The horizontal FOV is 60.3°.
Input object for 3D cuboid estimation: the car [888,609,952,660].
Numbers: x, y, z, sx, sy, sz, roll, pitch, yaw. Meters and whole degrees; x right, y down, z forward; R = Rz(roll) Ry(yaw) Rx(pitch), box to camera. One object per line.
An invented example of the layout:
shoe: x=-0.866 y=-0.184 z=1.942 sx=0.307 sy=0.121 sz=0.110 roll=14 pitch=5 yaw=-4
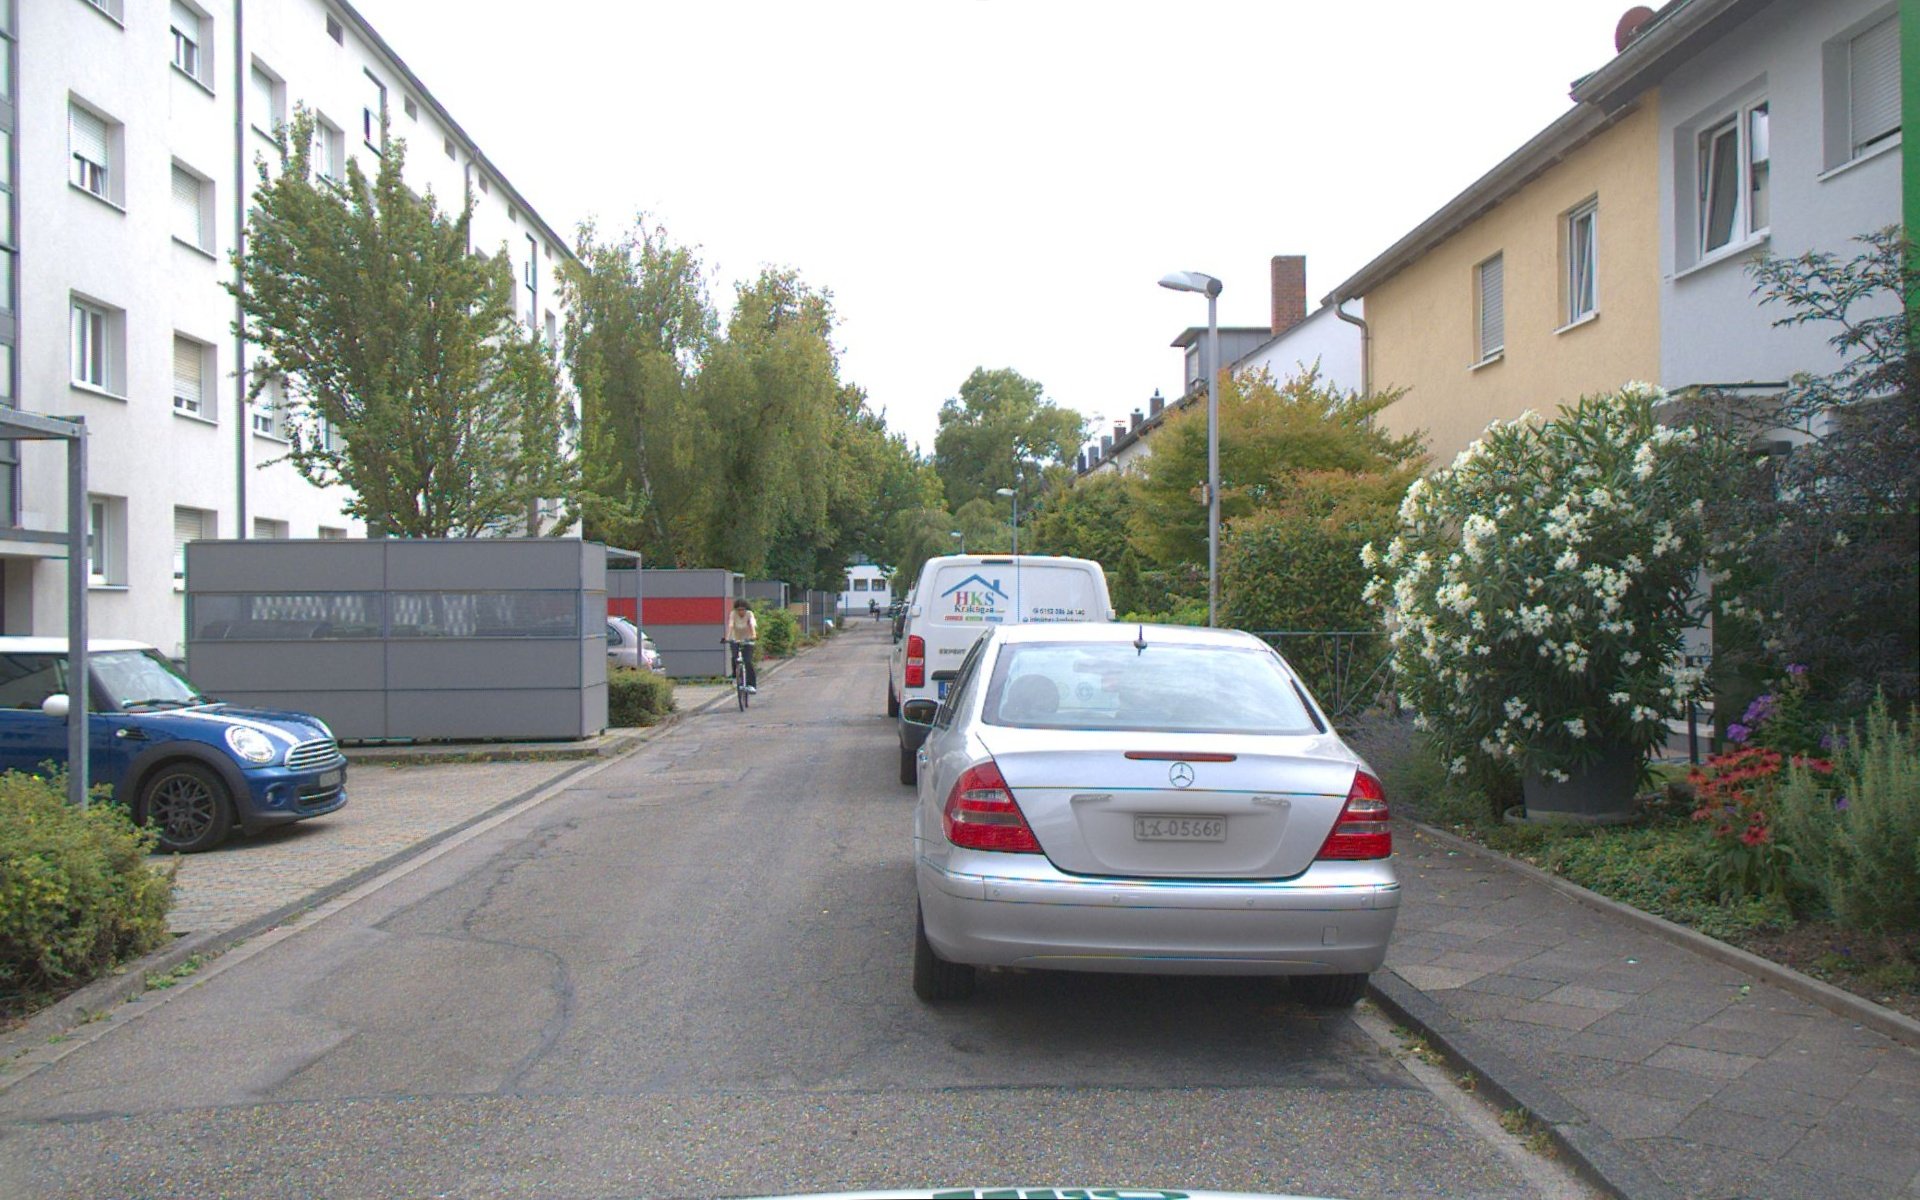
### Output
car: x=-1.212 y=0.985 z=49.104 sx=1.788 sy=1.394 sz=4.329 roll=1 pitch=0 yaw=-2

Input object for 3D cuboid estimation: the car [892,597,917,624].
car: x=-4.184 y=0.767 z=124.326 sx=1.788 sy=1.916 sz=3.998 roll=1 pitch=0 yaw=-2

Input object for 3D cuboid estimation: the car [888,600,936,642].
car: x=-1.989 y=0.837 z=67.435 sx=1.789 sy=1.609 sz=3.997 roll=1 pitch=0 yaw=-4

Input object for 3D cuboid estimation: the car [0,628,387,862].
car: x=-6.206 y=1.002 z=11.885 sx=3.560 sy=1.487 sz=1.653 roll=-2 pitch=0 yaw=1

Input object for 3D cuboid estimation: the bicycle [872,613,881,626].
bicycle: x=-7.121 y=1.656 z=141.406 sx=0.675 sy=1.151 sz=2.579 roll=1 pitch=0 yaw=0

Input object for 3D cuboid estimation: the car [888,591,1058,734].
car: x=0.071 y=0.741 z=21.465 sx=1.789 sy=1.664 sz=4.157 roll=1 pitch=0 yaw=-5

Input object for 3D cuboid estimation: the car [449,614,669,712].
car: x=-6.899 y=1.064 z=28.751 sx=3.494 sy=1.506 sz=1.708 roll=-2 pitch=0 yaw=-7

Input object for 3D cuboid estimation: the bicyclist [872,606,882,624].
bicyclist: x=-7.115 y=1.311 z=141.340 sx=0.782 sy=1.537 sz=0.934 roll=1 pitch=-1 yaw=0

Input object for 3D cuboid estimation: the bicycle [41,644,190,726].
bicycle: x=-11.758 y=1.165 z=23.066 sx=1.796 sy=1.042 sz=0.471 roll=0 pitch=0 yaw=-44

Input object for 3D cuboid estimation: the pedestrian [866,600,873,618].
pedestrian: x=-9.263 y=0.966 z=169.121 sx=0.761 sy=1.837 sz=0.547 roll=1 pitch=-1 yaw=-4

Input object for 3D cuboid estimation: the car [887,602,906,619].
car: x=-6.338 y=1.042 z=165.184 sx=1.788 sy=1.609 sz=3.998 roll=1 pitch=0 yaw=-2

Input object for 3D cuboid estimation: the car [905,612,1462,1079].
car: x=0.679 y=0.792 z=7.441 sx=1.747 sy=1.445 sz=4.454 roll=1 pitch=0 yaw=-1

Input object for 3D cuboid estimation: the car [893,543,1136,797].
car: x=0.336 y=0.573 z=15.808 sx=1.866 sy=1.999 sz=5.250 roll=1 pitch=0 yaw=-3

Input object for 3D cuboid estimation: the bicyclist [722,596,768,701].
bicyclist: x=-3.394 y=0.758 z=26.129 sx=0.585 sy=1.608 sz=0.767 roll=-2 pitch=0 yaw=-1

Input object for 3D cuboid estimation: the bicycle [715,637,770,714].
bicycle: x=-3.379 y=1.156 z=25.864 sx=0.585 sy=1.095 sz=2.042 roll=-2 pitch=0 yaw=-1
